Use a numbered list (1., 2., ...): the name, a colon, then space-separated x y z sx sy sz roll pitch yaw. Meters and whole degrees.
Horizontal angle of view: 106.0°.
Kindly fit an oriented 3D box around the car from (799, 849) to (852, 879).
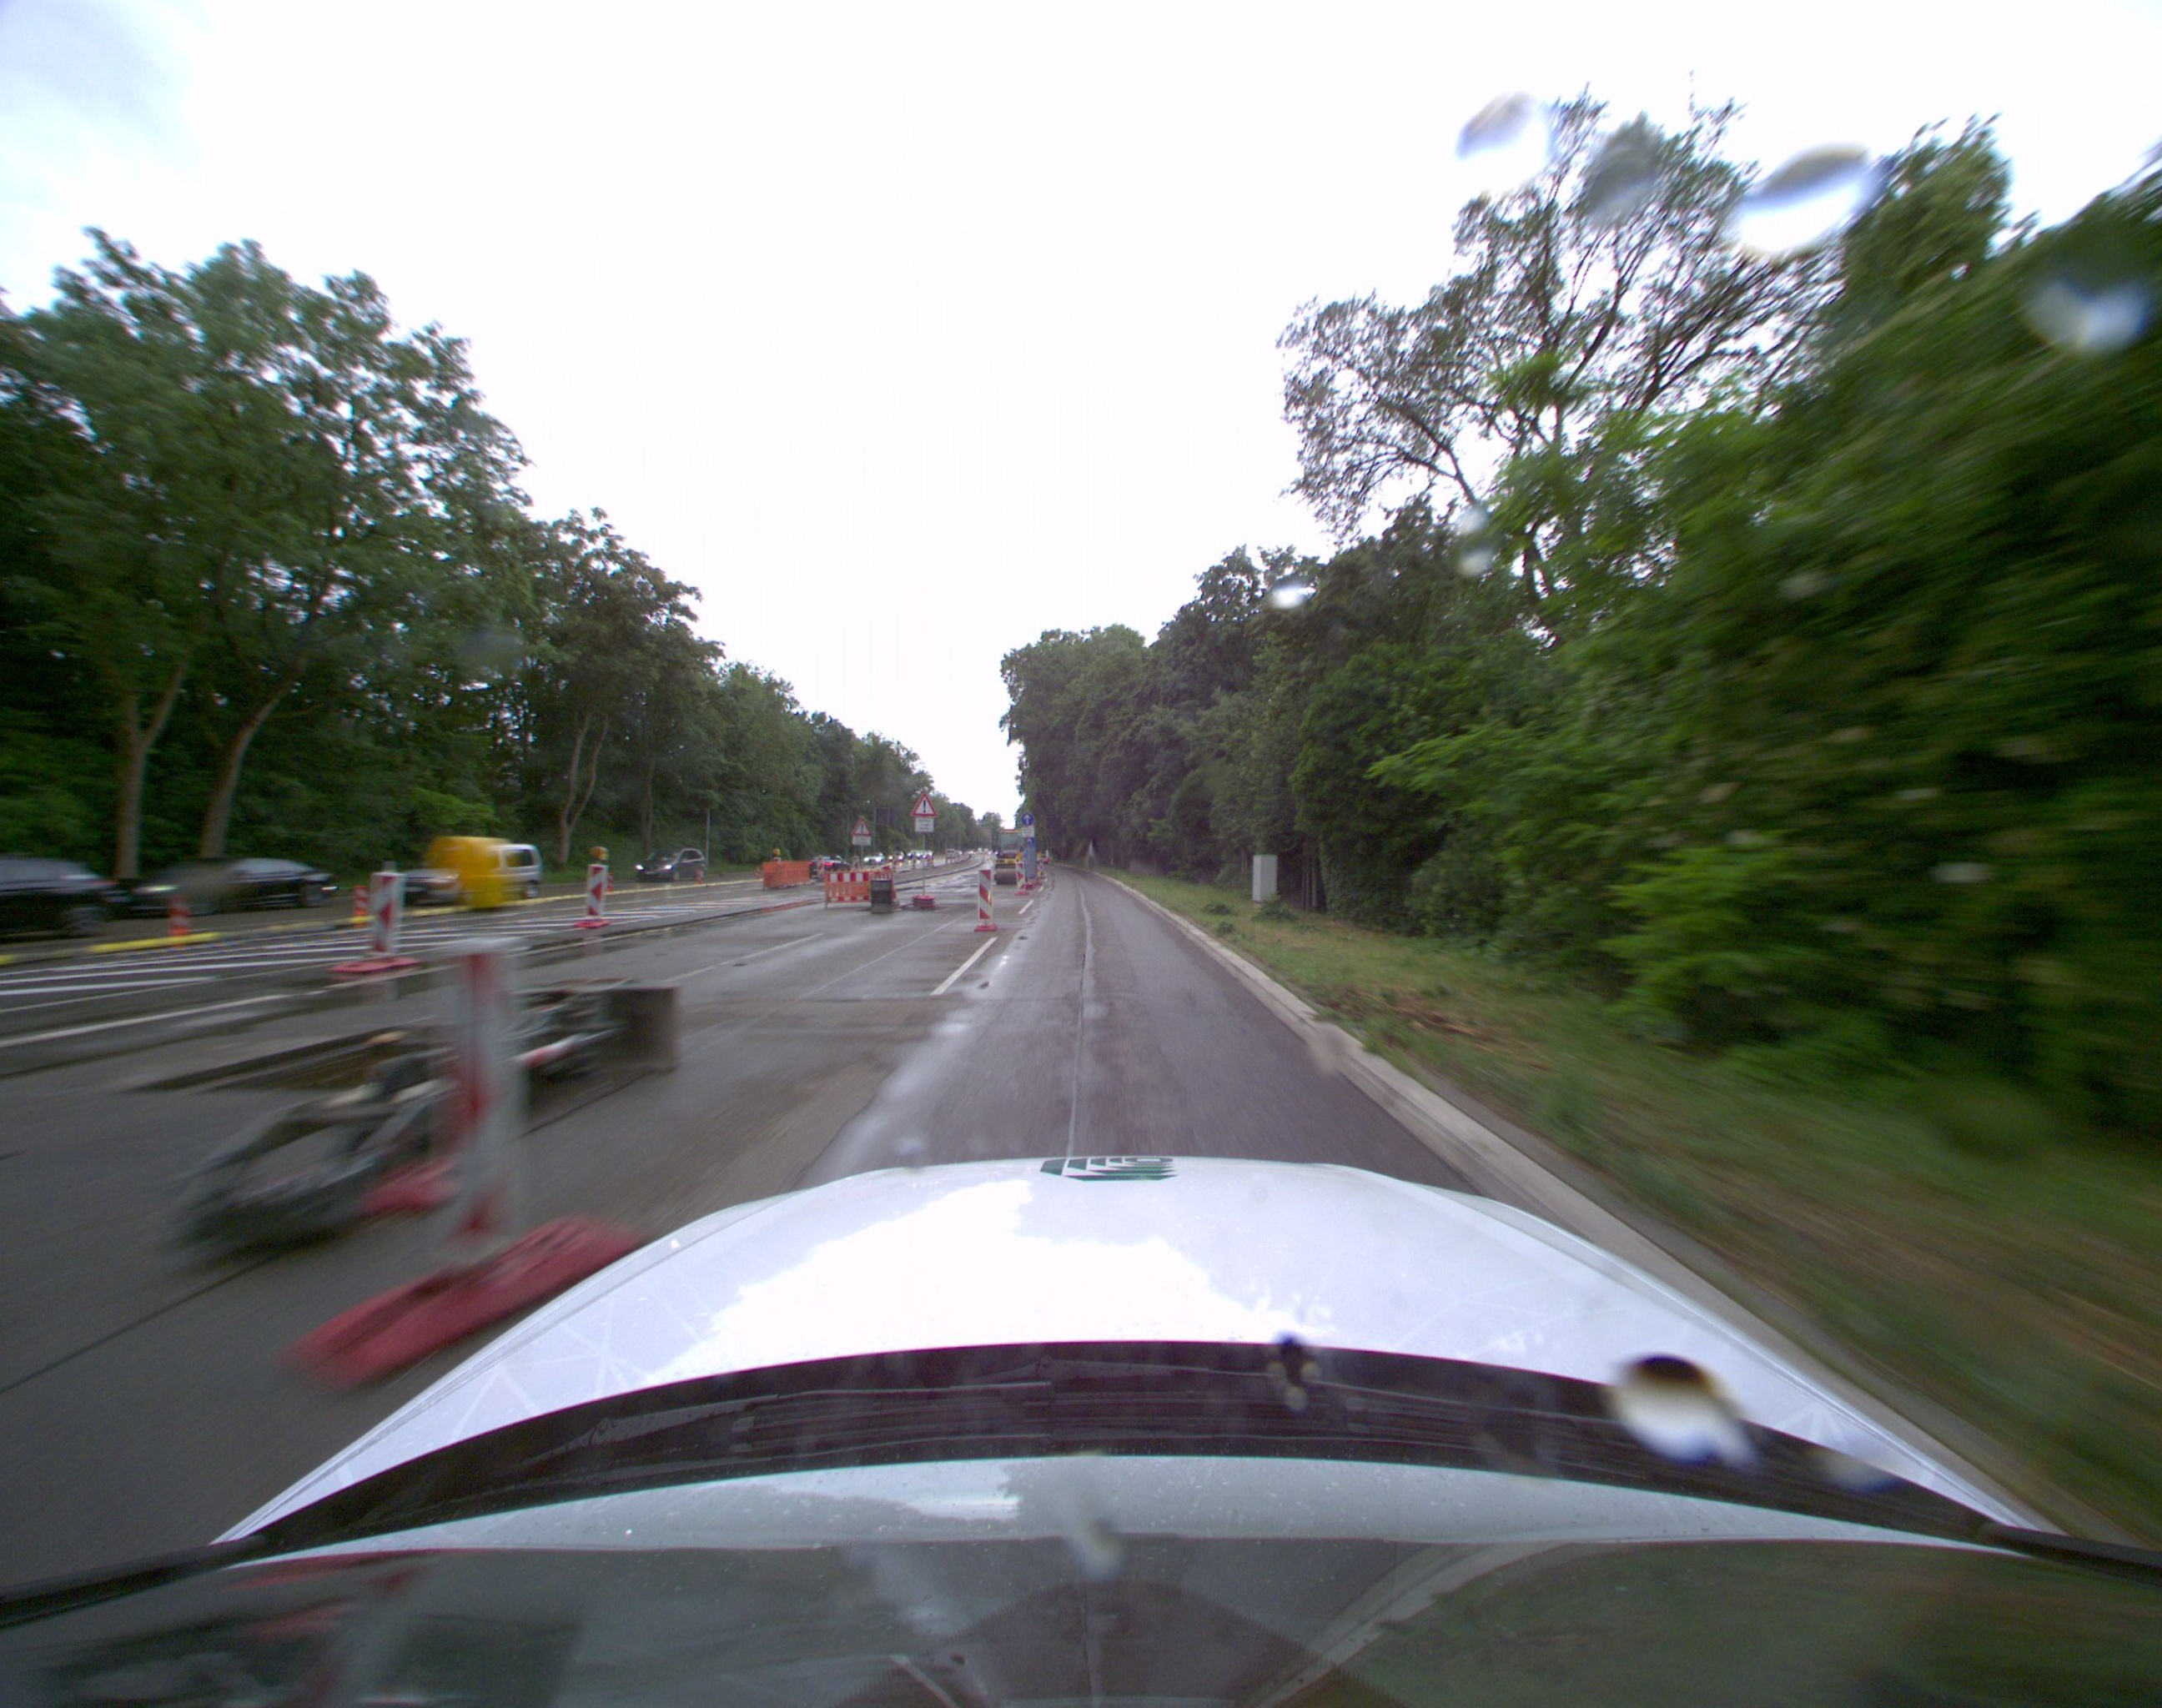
1. car: -15.131 0.545 48.486 1.856 1.491 4.000 2 2 0

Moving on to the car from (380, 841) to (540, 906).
1. car: -17.685 0.499 23.447 1.423 1.695 4.129 -1 0 0

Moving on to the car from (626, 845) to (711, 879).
1. car: -21.100 0.391 41.910 1.921 1.665 4.653 0 0 1

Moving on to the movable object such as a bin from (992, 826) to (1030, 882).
1. movable object such as a bin: -3.710 0.015 43.450 1.741 2.867 3.533 0 0 -1

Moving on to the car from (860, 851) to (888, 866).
1. car: -23.558 0.499 92.700 1.921 1.665 4.653 0 0 1

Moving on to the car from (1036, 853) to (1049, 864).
1. car: -6.059 0.620 127.007 1.911 1.598 4.826 1 1 -5

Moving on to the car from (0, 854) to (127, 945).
1. car: -17.460 0.713 12.402 1.423 1.407 3.822 -1 0 -2

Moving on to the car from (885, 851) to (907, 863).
1. car: -26.214 0.355 115.600 1.921 1.665 4.653 0 0 1

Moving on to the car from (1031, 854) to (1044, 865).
1. car: -5.992 0.723 111.601 1.753 1.344 3.994 2 1 -5

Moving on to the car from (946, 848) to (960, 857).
1. car: -24.388 -0.299 155.502 1.921 1.778 4.653 0 0 1

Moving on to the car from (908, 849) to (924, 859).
1. car: -28.919 -0.042 142.830 1.921 1.665 4.653 0 0 1

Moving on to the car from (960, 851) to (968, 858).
1. car: -28.102 0.118 195.049 1.567 1.457 3.365 3 1 -13

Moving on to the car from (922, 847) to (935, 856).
1. car: -29.215 -0.482 156.241 1.923 1.665 4.647 0 0 -3

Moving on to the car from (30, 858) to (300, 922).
1. car: -20.627 0.746 18.656 1.423 1.263 4.227 0 0 -1
